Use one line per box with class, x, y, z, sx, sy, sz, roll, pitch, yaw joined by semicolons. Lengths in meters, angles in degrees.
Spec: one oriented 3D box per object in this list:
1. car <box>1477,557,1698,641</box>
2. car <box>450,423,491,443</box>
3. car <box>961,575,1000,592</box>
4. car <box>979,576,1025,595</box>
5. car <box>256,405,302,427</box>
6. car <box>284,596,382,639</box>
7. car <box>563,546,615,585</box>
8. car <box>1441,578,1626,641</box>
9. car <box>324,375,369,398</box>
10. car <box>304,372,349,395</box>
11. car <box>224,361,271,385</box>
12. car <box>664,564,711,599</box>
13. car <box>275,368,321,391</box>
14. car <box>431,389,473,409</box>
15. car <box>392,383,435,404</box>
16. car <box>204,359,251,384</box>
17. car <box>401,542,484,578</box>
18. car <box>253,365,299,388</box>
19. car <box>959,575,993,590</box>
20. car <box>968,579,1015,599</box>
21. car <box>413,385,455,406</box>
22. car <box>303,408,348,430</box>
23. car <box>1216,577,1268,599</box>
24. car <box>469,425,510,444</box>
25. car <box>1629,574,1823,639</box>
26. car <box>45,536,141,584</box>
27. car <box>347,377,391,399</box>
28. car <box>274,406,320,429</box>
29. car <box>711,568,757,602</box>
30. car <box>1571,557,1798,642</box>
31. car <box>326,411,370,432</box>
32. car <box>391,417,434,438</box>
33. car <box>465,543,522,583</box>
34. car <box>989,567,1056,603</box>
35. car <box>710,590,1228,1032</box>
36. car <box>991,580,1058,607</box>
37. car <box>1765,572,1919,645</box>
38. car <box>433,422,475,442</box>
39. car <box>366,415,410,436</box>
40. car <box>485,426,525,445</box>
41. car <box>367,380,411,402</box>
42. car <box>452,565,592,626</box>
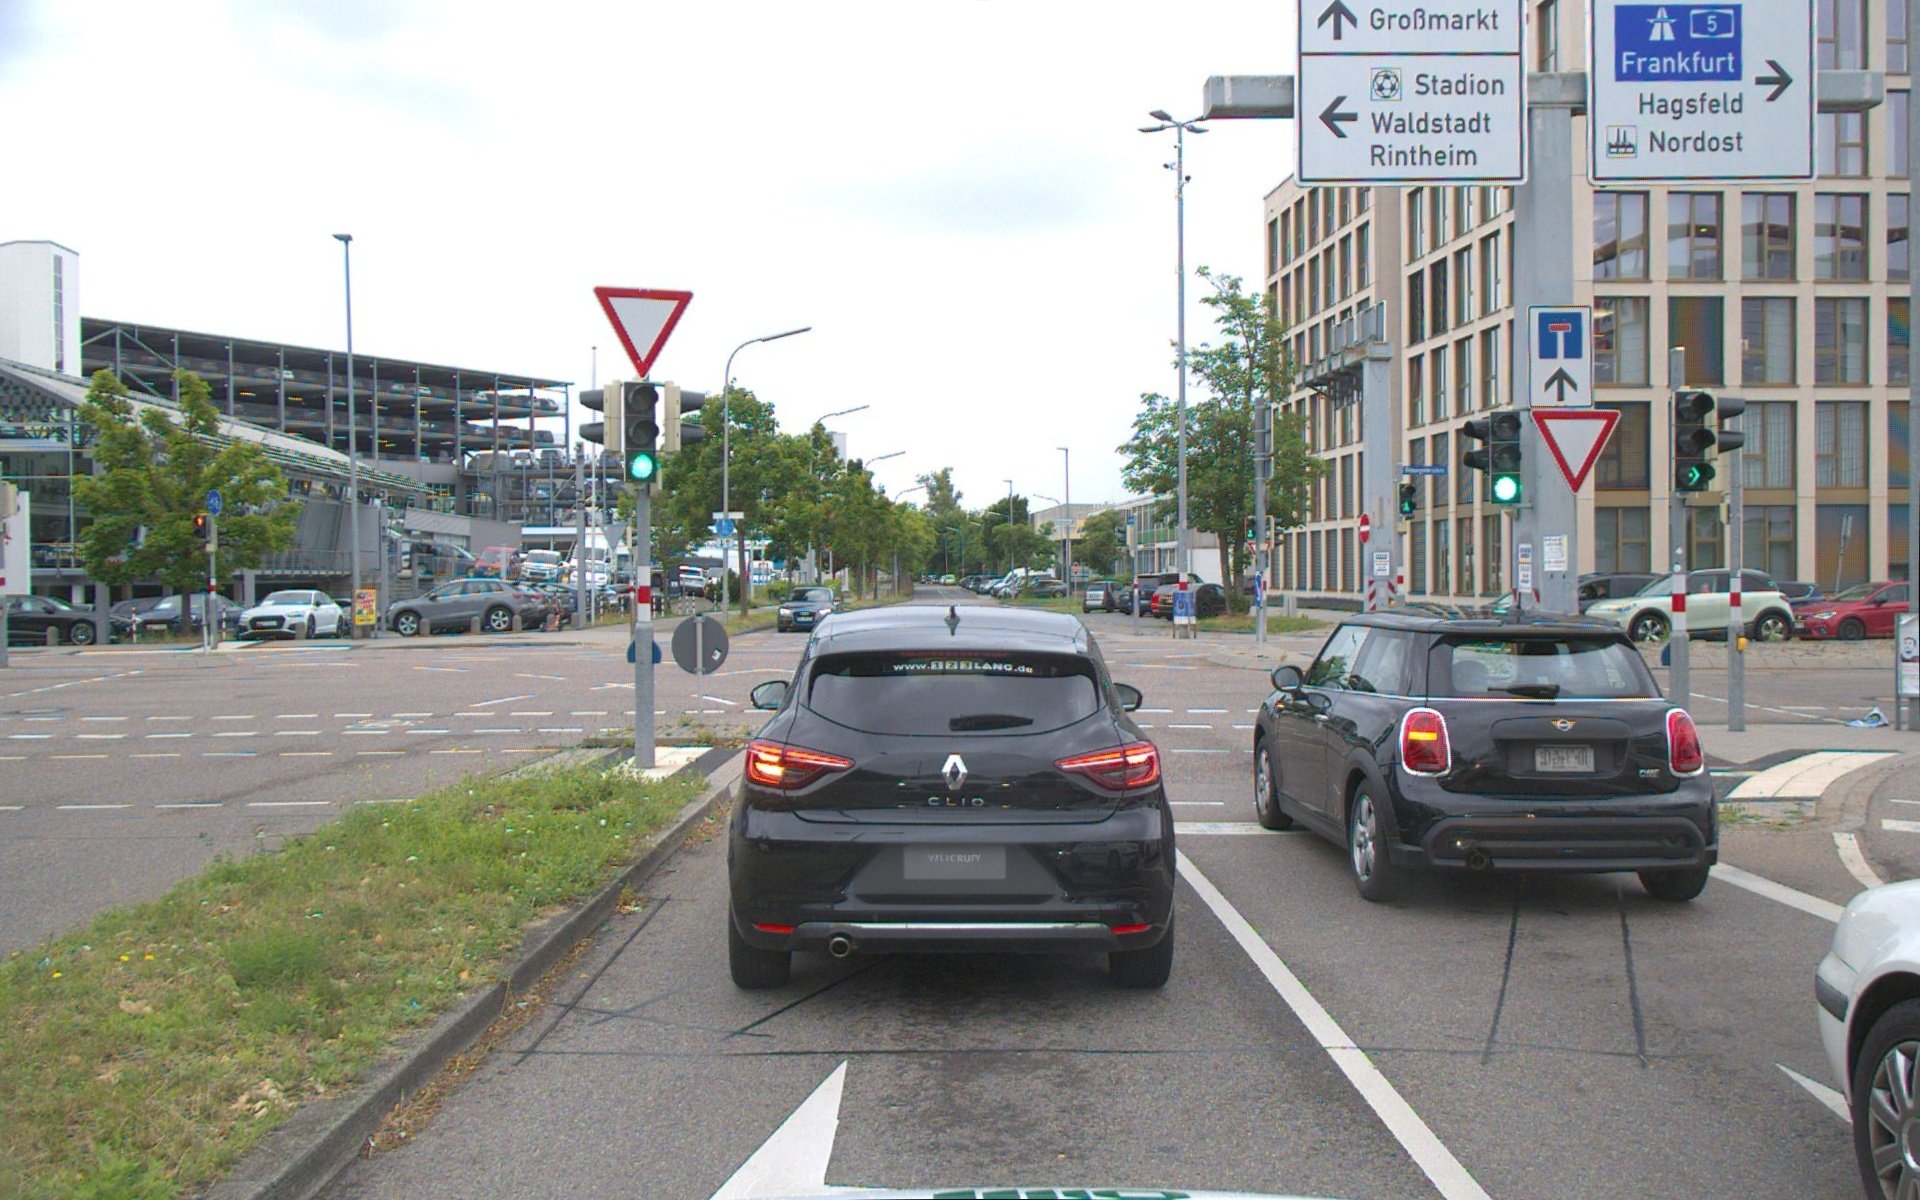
car;14.431;-0.019;38.177;4.321;1.800;1.998;1;0;-5
car;-50.649;-17.246;171.127;3.914;1.696;1.996;1;1;31
car;2.713;-2.152;217.998;5.069;2.049;2.143;1;0;-2
car;4.411;-1.531;175.630;4.690;1.924;2.142;1;0;-3
car;-62.281;-16.795;151.177;3.914;1.696;1.996;1;1;31
car;-29.081;0.809;76.775;3.911;1.870;1.757;1;0;-7
car;-18.607;-1.719;83.155;1.954;1.855;3.996;1;0;-4
car;14.335;0.239;41.459;4.005;1.457;1.749;1;0;-5
car;-58.474;-20.349;157.663;3.914;1.696;1.996;1;1;31
car;-59.589;-20.377;155.634;3.914;1.696;1.996;1;1;31
car;-64.006;-20.357;148.663;3.914;1.696;1.996;1;1;31
car;-13.721;-0.921;83.566;1.954;1.646;3.996;1;0;-4
car;-61.217;-20.394;152.968;3.914;1.696;1.996;1;1;31
car;-52.029;-20.587;169.474;3.914;1.696;1.996;1;1;31
car;-54.381;-20.523;164.513;3.914;1.696;1.996;1;1;31
car;-64.941;-20.228;146.600;3.914;1.696;1.996;1;1;31
car;-28.018;-2.153;89.637;3.908;1.870;1.759;1;0;-4
car;-62.454;-20.423;151.082;3.914;1.696;1.996;1;1;31
car;2.216;-2.421;229.906;4.690;1.924;2.142;1;0;-3
car;3.501;-1.214;182.208;5.069;2.049;2.143;1;0;-2
car;-53.065;-20.573;166.834;3.914;1.696;1.996;1;1;31
car;-59.642;-16.987;155.528;3.914;1.696;1.996;1;1;31
car;18.940;-0.797;111.153;3.182;1.356;1.477;1;0;-20
car;-49.424;-17.354;173.670;3.914;1.696;1.996;1;1;31
car;19.301;0.166;41.759;4.055;1.517;1.870;1;0;-5
car;-32.733;-1.477;62.539;1.784;1.691;3.995;1;0;-5
car;-57.130;-20.504;159.985;3.914;1.696;1.996;1;1;31
car;-61.422;-16.908;153.271;3.914;1.696;1.996;1;1;31
car;-11.492;-0.764;84.268;1.954;1.646;3.998;1;0;-3
car;15.225;0.000;34.877;3.977;1.672;1.903;1;0;-6
car;-58.347;-17.022;157.673;3.914;1.696;1.996;1;1;31
car;-54.388;-17.143;164.350;3.914;1.696;1.996;1;1;31
car;-23.428;-1.835;83.195;1.954;1.881;3.996;1;0;-4
car;5.737;-1.363;151.651;5.993;3.171;2.133;1;0;-2
car;0.005;0.720;7.566;1.721;1.460;3.999;1;0;-1
car;5.008;-0.499;129.035;5.070;2.049;2.142;1;0;-3
car;21.265;0.207;38.683;3.908;1.629;1.998;1;0;-4
car;-51.746;-17.189;169.149;3.914;1.696;1.996;1;1;31
car;-55.951;-17.046;161.758;3.914;1.696;1.996;1;1;31
car;-48.359;-17.409;175.643;3.914;1.696;1.996;1;1;31
car;-55.887;-20.466;161.828;3.914;1.696;1.996;1;1;31
car;-16.210;-0.160;61.405;4.683;2.049;1.997;-2;0;-7
